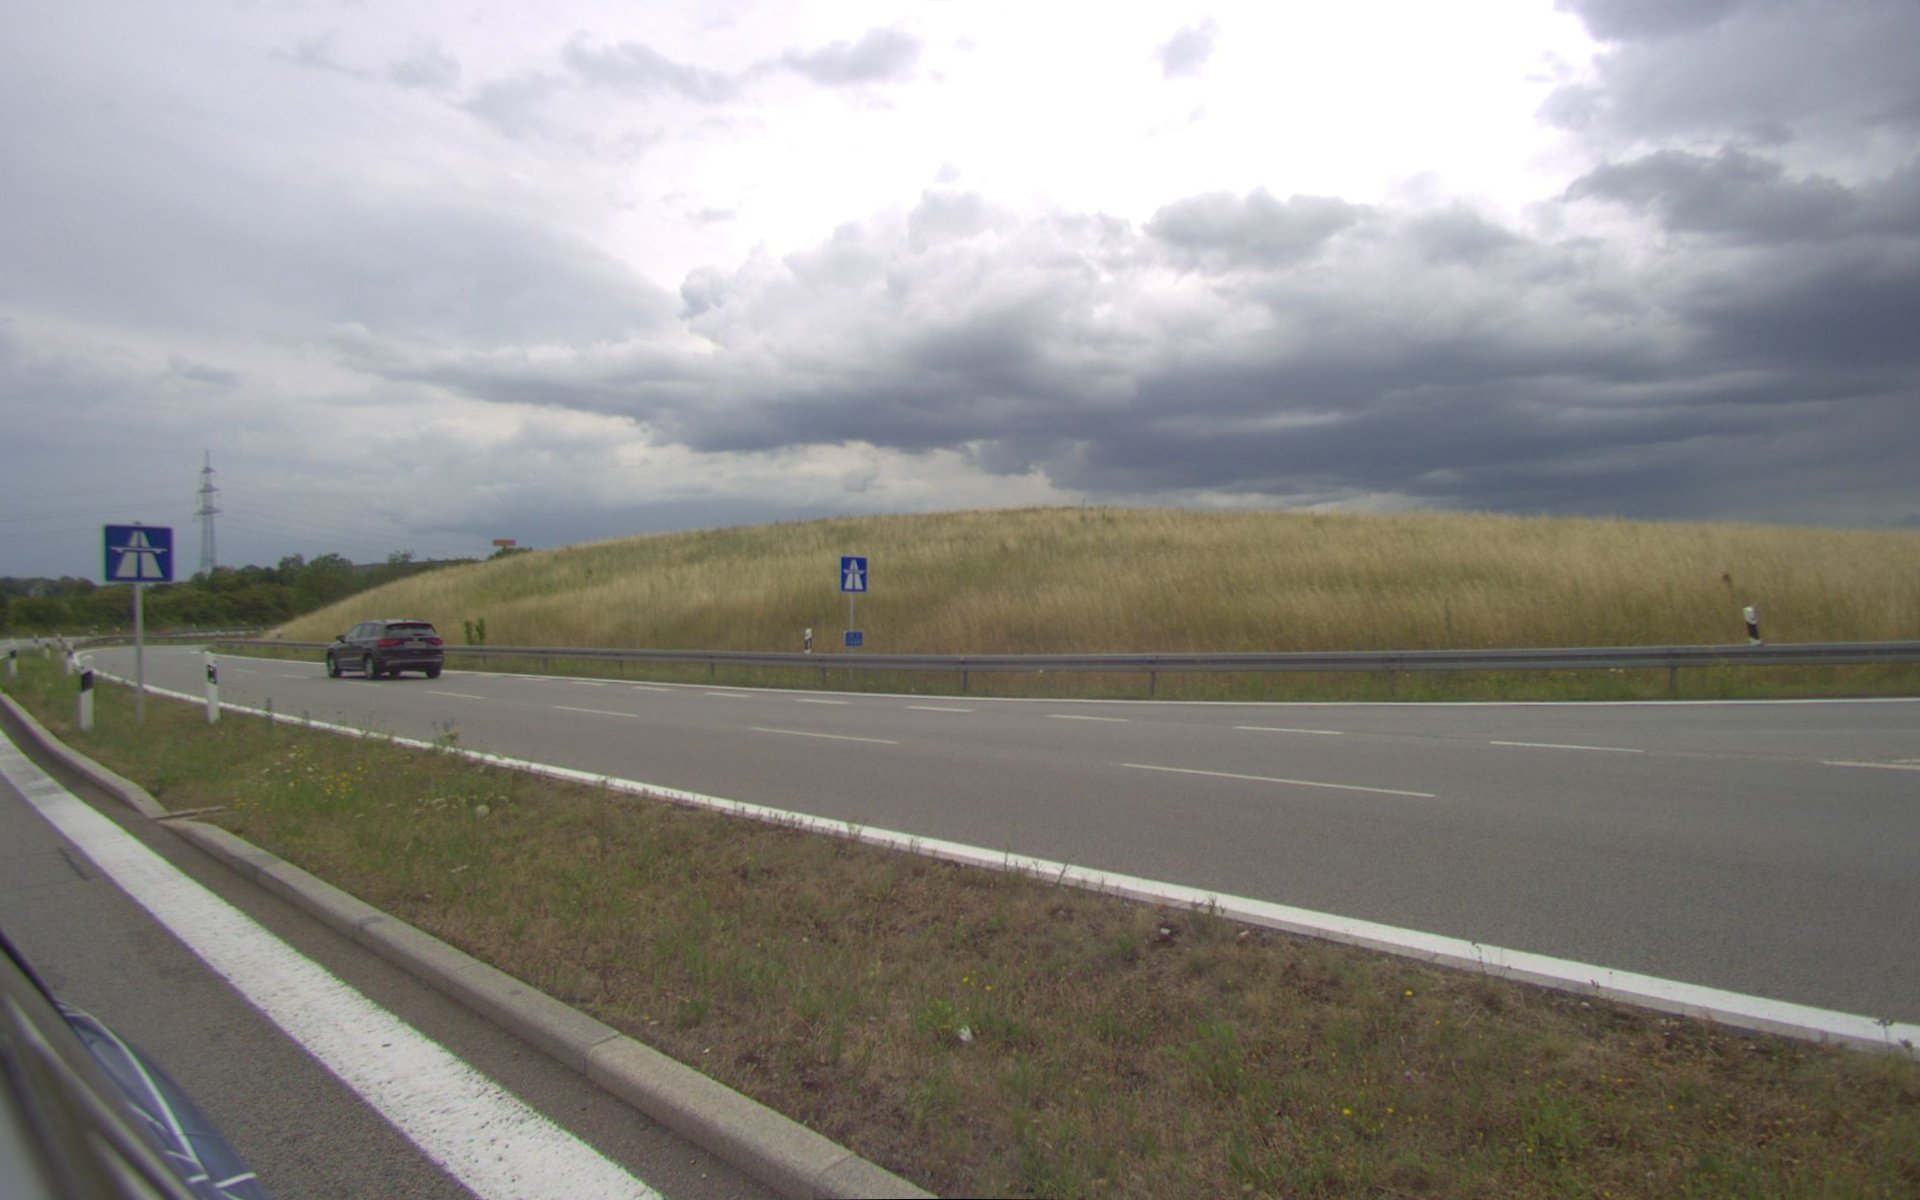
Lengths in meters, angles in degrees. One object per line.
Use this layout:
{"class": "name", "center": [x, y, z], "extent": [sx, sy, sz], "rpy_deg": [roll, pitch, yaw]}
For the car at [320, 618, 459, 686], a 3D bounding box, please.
{"class": "car", "center": [-15.700, 1.355, 27.773], "extent": [4.109, 1.696, 1.974], "rpy_deg": [-1, 0, 39]}
